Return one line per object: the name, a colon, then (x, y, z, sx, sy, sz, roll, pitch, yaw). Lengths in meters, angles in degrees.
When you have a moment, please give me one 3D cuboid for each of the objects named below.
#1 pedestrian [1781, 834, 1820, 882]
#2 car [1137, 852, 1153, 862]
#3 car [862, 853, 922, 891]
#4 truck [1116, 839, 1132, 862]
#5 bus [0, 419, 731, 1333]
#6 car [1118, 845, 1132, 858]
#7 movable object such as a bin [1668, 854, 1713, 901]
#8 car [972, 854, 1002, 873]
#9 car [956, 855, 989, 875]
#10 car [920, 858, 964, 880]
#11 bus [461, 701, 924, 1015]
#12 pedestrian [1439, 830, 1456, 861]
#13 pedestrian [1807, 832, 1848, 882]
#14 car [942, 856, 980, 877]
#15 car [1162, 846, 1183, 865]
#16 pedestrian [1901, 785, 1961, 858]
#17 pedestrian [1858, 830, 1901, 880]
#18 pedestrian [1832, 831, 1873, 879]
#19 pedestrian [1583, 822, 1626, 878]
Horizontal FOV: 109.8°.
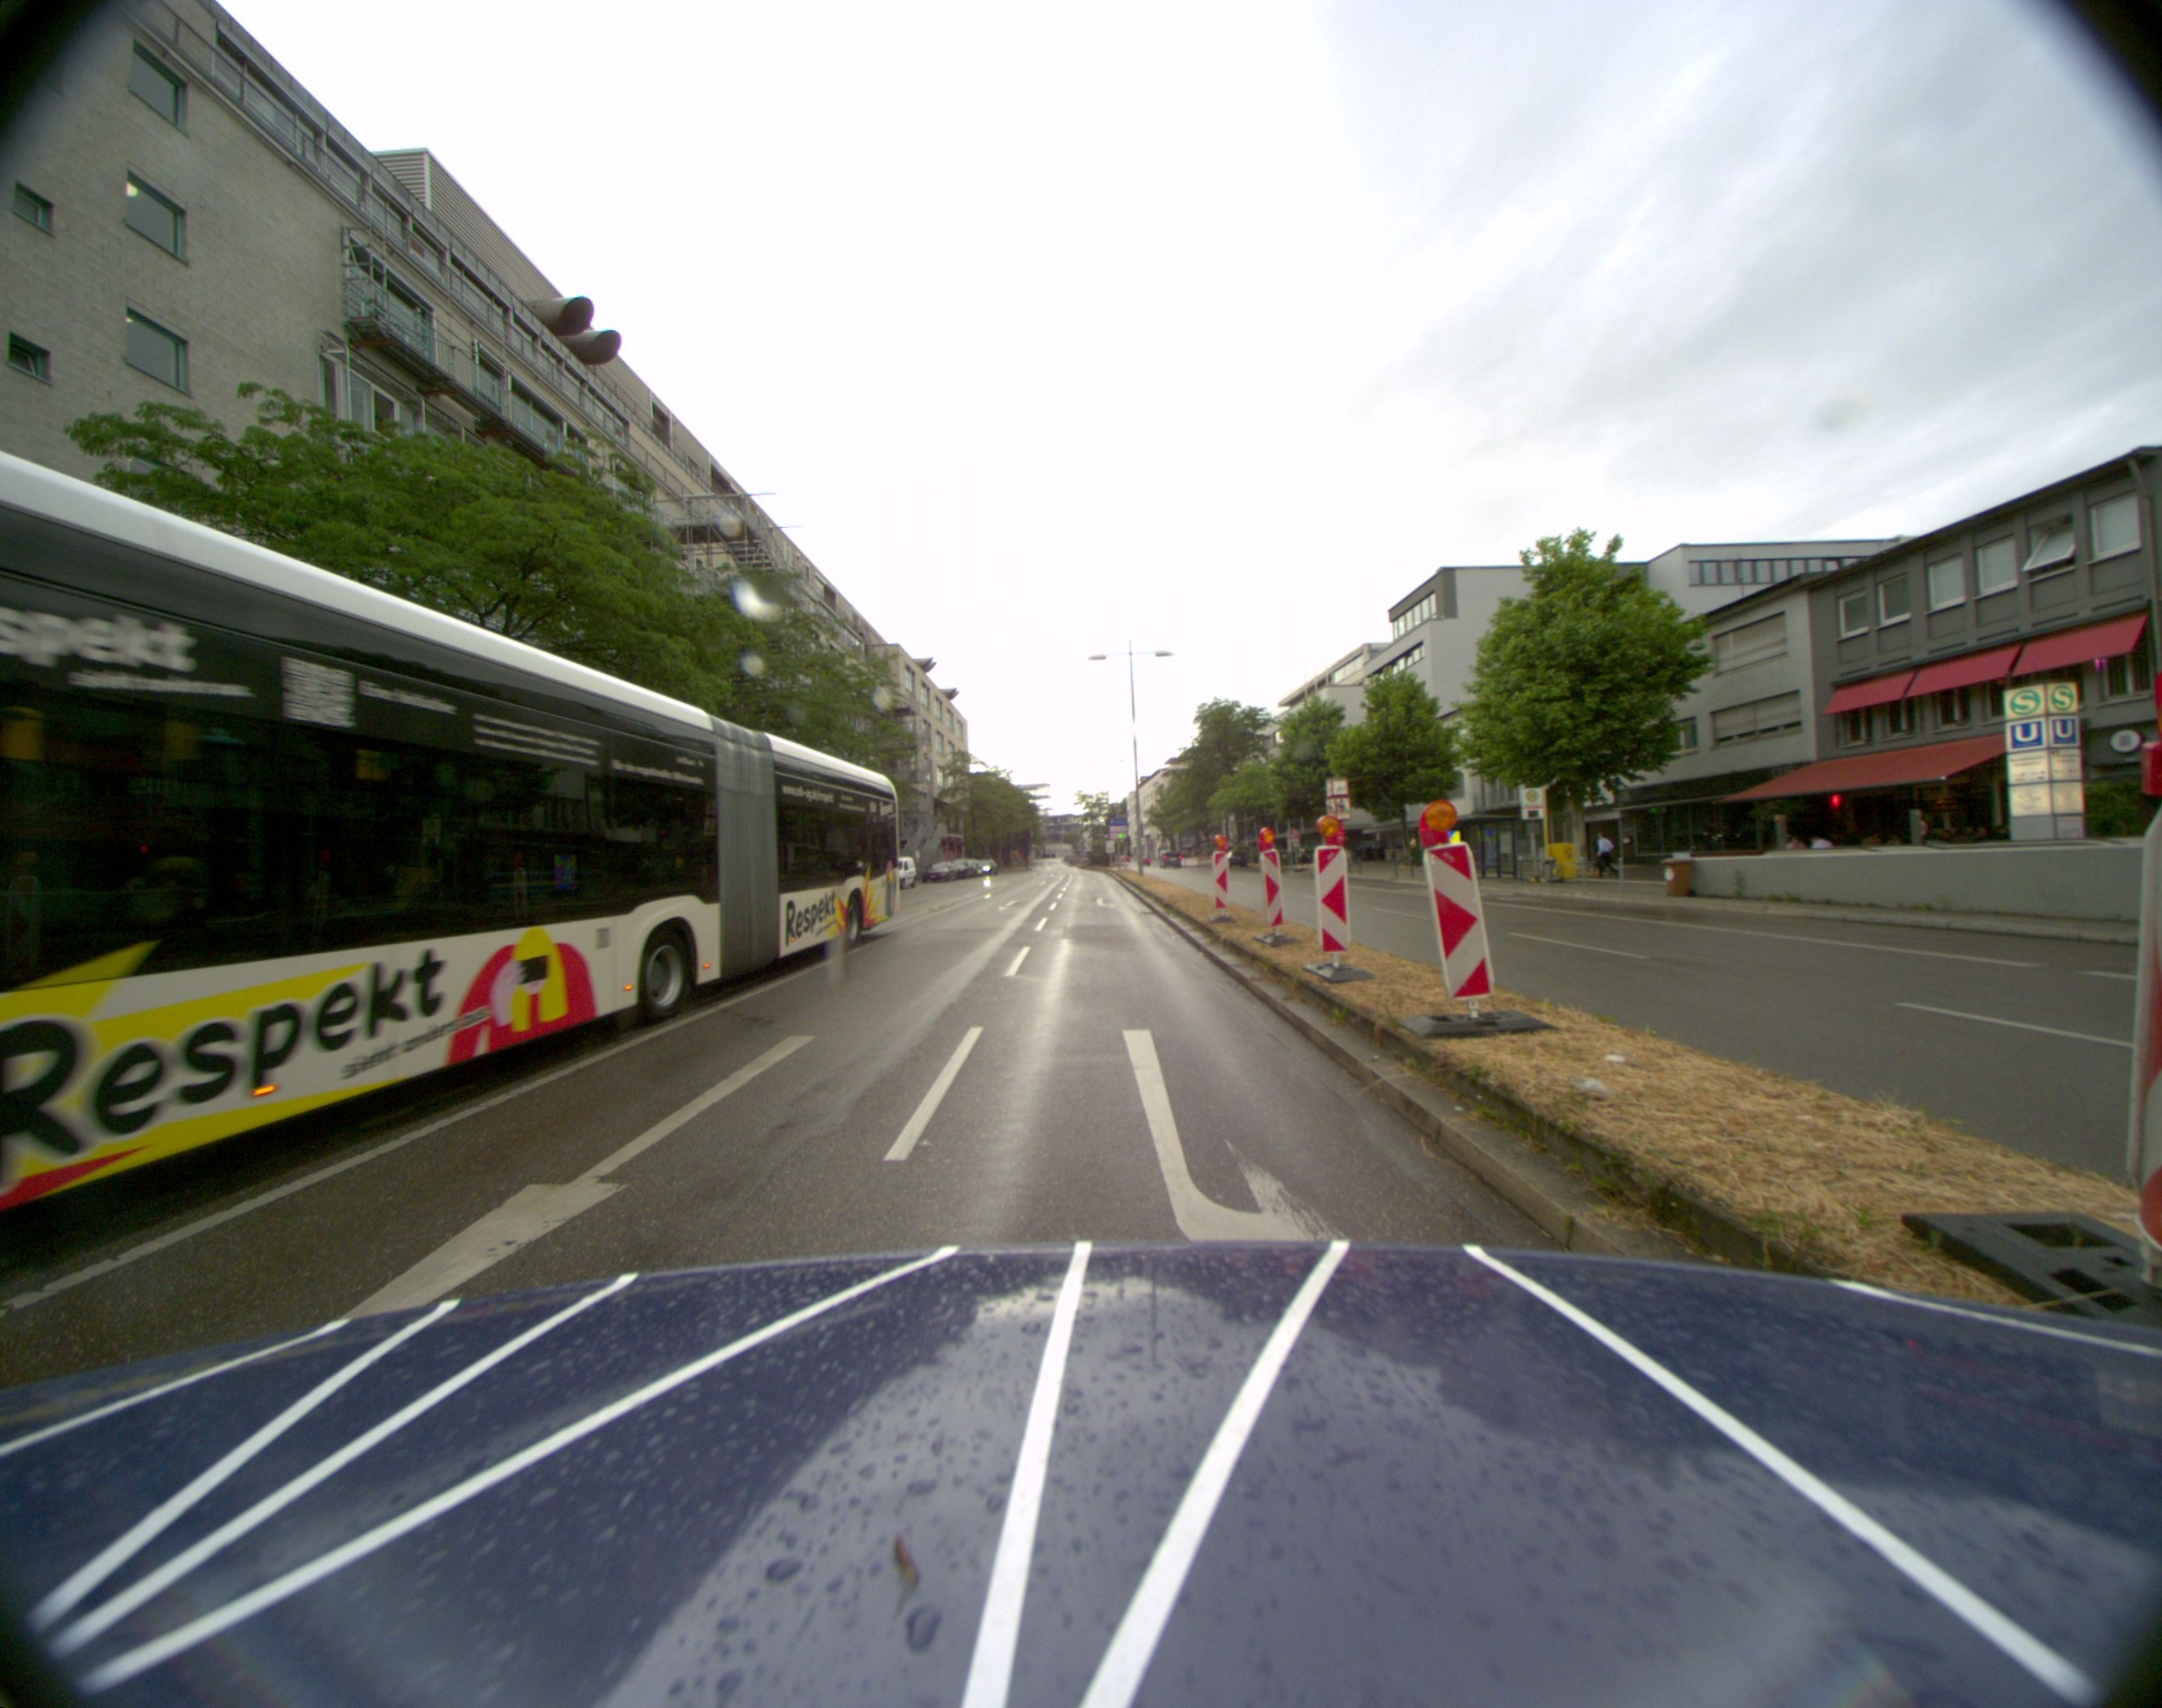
pedestrian: (23.348, 0.127, 24.661, 0.669, 1.520, 0.611, -2, 1, 3)
car: (10.513, 0.536, 125.250, 1.692, 1.501, 4.288, -2, 0, -7)
car: (-10.520, 0.940, 42.658, 2.213, 1.895, 4.329, -2, 1, 0)
truck: (7.113, -0.555, 127.117, 1.999, 3.557, 7.572, -2, 0, -2)
bus: (-5.493, 0.102, 3.583, 2.890, 3.430, 9.756, -2, 1, 1)
car: (7.080, -0.367, 122.300, 1.998, 2.002, 4.000, -2, 1, 2)
movable object such as a bin: (14.569, 0.554, 18.170, 0.507, 1.094, 0.660, -2, 1, -2)
car: (-8.886, 0.901, 72.428, 2.147, 1.637, 4.816, -2, 1, 1)
car: (-9.456, 0.942, 66.691, 2.147, 1.552, 4.816, -2, 1, 1)
car: (-9.885, 1.034, 54.423, 2.147, 1.329, 4.816, -2, 1, 1)
bus: (-5.343, 0.000, 13.366, 2.890, 3.420, 9.709, -2, 1, 1)
pedestrian: (24.415, -0.555, 50.661, 0.774, 2.002, 0.767, -2, 1, 8)
pedestrian: (23.278, 0.103, 23.705, 0.669, 1.520, 0.611, -2, 1, 3)
car: (-9.617, 0.983, 61.222, 2.147, 1.486, 4.816, -2, 1, 1)
car: (9.891, 0.150, 82.632, 1.998, 1.916, 4.964, -1, 2, 4)
pedestrian: (21.836, -0.820, 19.532, 0.611, 1.813, 0.792, -2, 1, -4)
pedestrian: (24.999, 0.036, 23.793, 0.669, 1.520, 0.611, -2, 1, 3)
pedestrian: (24.908, 0.031, 24.534, 0.669, 1.520, 0.611, -2, 1, 4)
pedestrian: (19.322, -0.135, 28.058, 0.922, 2.002, 0.944, -2, 1, 0)
